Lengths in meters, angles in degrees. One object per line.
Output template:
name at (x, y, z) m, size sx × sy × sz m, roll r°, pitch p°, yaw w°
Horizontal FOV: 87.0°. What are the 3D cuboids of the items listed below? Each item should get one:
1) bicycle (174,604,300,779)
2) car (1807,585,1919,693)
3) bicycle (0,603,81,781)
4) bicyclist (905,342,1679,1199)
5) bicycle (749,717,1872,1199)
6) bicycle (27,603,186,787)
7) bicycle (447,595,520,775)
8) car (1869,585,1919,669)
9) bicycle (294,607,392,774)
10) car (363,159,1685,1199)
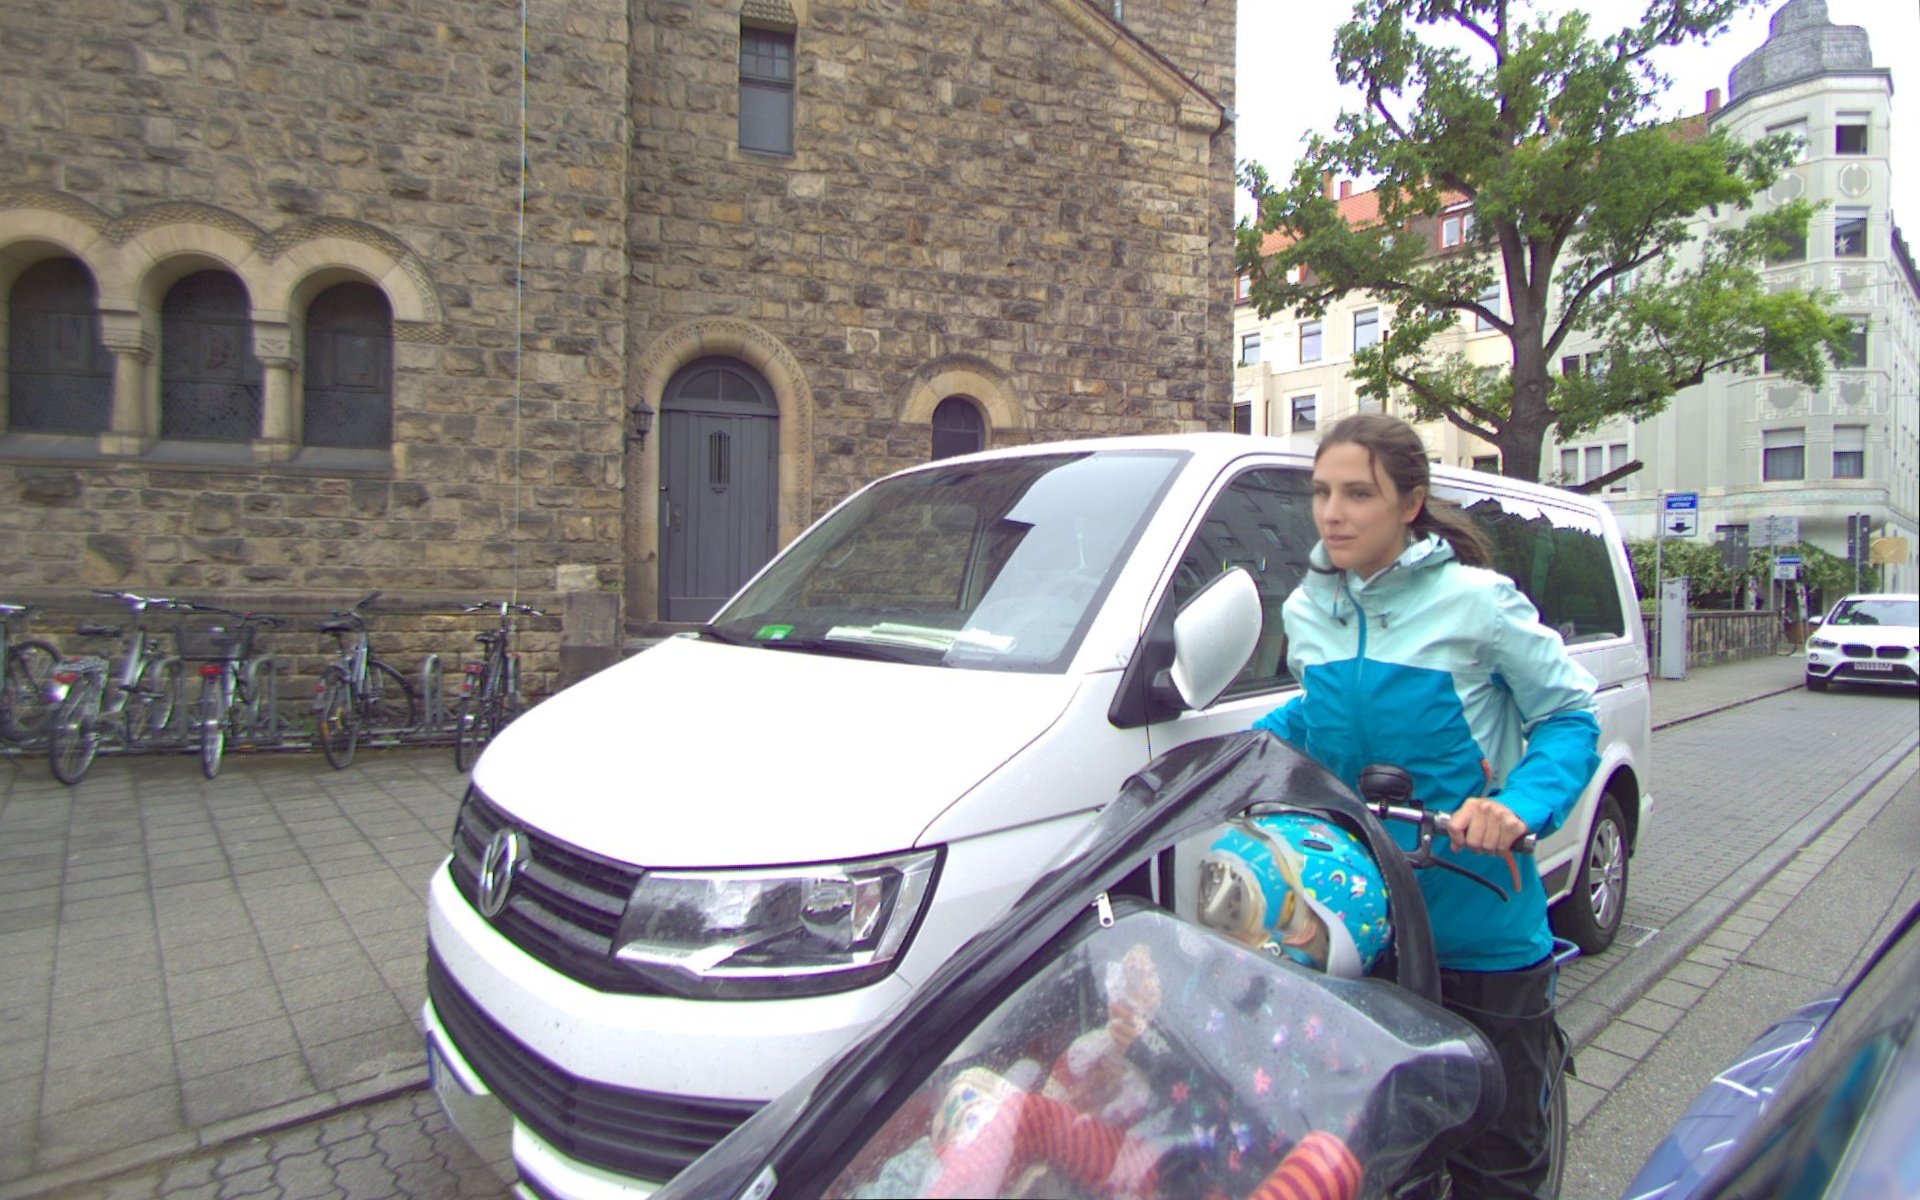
bicycle at (-4.974, 0.573, 7.019) m, size 0.304 × 1.073 × 1.386 m, roll 1°, pitch 0°, yaw -18°
car at (15.440, 0.579, 16.571) m, size 3.930 × 1.585 × 1.818 m, roll 0°, pitch 1°, yaw -41°
bicycle at (-6.084, 0.566, 6.381) m, size 0.304 × 1.073 × 1.386 m, roll 1°, pitch 0°, yaw -18°
bicyclist at (0.530, 0.480, 1.675) m, size 1.037 × 1.537 × 0.689 m, roll 1°, pitch 0°, yaw -29°
bicycle at (0.743, 0.833, 1.689) m, size 2.095 × 1.112 × 0.496 m, roll 0°, pitch 0°, yaw -29°
bicycle at (-5.608, 0.568, 6.717) m, size 0.304 × 1.073 × 1.386 m, roll 1°, pitch 0°, yaw -18°
bicycle at (-3.412, 0.554, 7.294) m, size 0.304 × 1.161 × 1.346 m, roll 1°, pitch 0°, yaw -18°
car at (19.866, 0.523, 20.411) m, size 3.930 × 1.585 × 1.818 m, roll 0°, pitch 1°, yaw -41°
bicycle at (-4.448, 0.602, 7.352) m, size 0.304 × 1.073 × 1.346 m, roll 1°, pitch 0°, yaw -18°
car at (0.910, 0.390, 3.699) m, size 5.075 × 1.944 × 1.807 m, roll 0°, pitch 0°, yaw -42°
